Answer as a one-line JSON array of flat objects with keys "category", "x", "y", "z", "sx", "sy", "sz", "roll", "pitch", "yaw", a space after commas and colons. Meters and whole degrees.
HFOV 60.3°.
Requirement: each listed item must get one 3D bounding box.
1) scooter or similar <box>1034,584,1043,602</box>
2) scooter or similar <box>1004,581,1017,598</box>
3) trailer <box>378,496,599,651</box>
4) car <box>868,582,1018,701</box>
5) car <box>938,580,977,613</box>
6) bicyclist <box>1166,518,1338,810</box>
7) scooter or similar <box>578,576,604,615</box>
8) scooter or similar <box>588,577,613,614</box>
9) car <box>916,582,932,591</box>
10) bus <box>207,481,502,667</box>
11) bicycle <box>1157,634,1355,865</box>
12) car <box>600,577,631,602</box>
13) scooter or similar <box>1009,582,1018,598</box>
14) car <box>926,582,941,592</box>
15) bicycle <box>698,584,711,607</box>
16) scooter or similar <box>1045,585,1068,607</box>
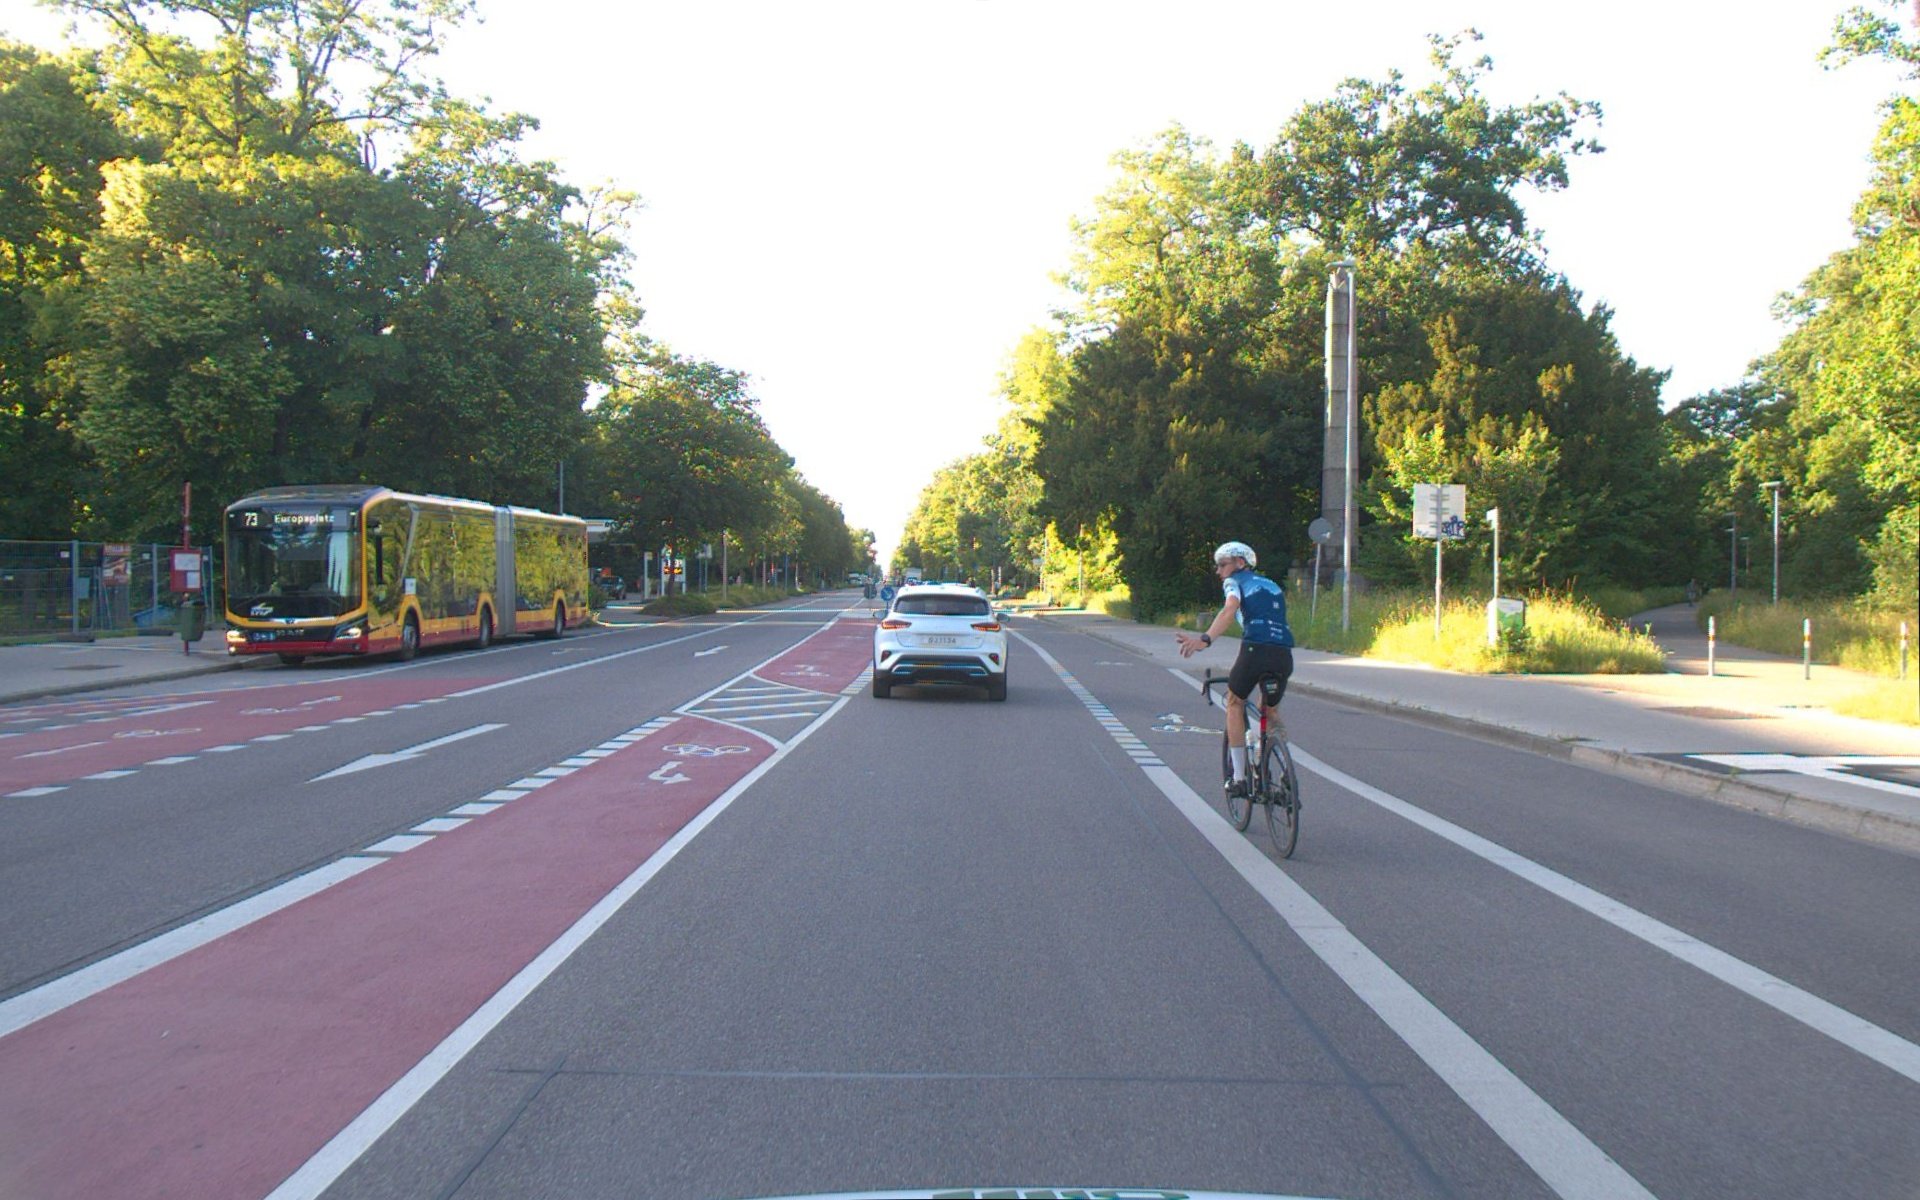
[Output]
[{"category": "scooter or similar", "x": 5.560, "y": -0.484, "z": 117.712, "sx": 0.522, "sy": 1.272, "sz": 1.541, "roll": 0, "pitch": 1, "yaw": -2}, {"category": "scooter or similar", "x": 4.528, "y": -0.924, "z": 147.402, "sx": 0.671, "sy": 1.448, "sz": 1.675, "roll": 0, "pitch": 1, "yaw": -16}, {"category": "trailer", "x": -11.736, "y": -0.623, "z": 42.232, "sx": 2.796, "sy": 3.414, "sz": 9.363, "roll": 2, "pitch": 0, "yaw": 0}, {"category": "car", "x": -0.314, "y": 0.510, "z": 22.964, "sx": 1.727, "sy": 1.485, "sz": 3.813, "roll": 1, "pitch": 1, "yaw": -6}, {"category": "car", "x": -0.093, "y": -0.174, "z": 73.059, "sx": 1.641, "sy": 1.442, "sz": 3.574, "roll": 0, "pitch": 1, "yaw": 1}, {"category": "bicyclist", "x": 1.672, "y": 0.348, "z": 9.601, "sx": 0.842, "sy": 1.594, "sz": 0.881, "roll": 2, "pitch": 1, "yaw": 3}, {"category": "scooter or similar", "x": -16.797, "y": -0.211, "z": 75.377, "sx": 0.811, "sy": 1.747, "sz": 1.740, "roll": 0, "pitch": 1, "yaw": -1}, {"category": "scooter or similar", "x": -16.798, "y": -0.222, "z": 77.321, "sx": 0.811, "sy": 1.747, "sz": 1.740, "roll": 0, "pitch": 1, "yaw": -1}, {"category": "car", "x": -5.268, "y": -1.981, "z": 241.224, "sx": 1.955, "sy": 1.350, "sz": 3.995, "roll": 0, "pitch": 1, "yaw": -6}, {"category": "bus", "x": -11.783, "y": -0.503, "z": 33.252, "sx": 2.782, "sy": 3.252, "sz": 8.599, "roll": 0, "pitch": 1, "yaw": 0}, {"category": "bicycle", "x": 1.683, "y": 0.806, "z": 9.760, "sx": 0.872, "sy": 1.114, "sz": 2.137, "roll": 2, "pitch": 1, "yaw": 3}, {"category": "car", "x": -23.986, "y": -0.759, "z": 115.222, "sx": 1.678, "sy": 1.721, "sz": 4.448, "roll": 0, "pitch": 1, "yaw": -6}, {"category": "scooter or similar", "x": 4.605, "y": -0.873, "z": 143.452, "sx": 0.668, "sy": 1.448, "sz": 1.681, "roll": 0, "pitch": 1, "yaw": -2}, {"category": "car", "x": -3.641, "y": -1.794, "z": 225.585, "sx": 1.954, "sy": 1.350, "sz": 3.998, "roll": 0, "pitch": 1, "yaw": -3}, {"category": "bicycle", "x": -14.091, "y": -0.252, "z": 91.236, "sx": 0.642, "sy": 1.272, "sz": 2.156, "roll": 0, "pitch": 1, "yaw": -7}, {"category": "scooter or similar", "x": 5.836, "y": -0.249, "z": 99.863, "sx": 0.526, "sy": 1.272, "sz": 1.530, "roll": 1, "pitch": 1, "yaw": 44}]
